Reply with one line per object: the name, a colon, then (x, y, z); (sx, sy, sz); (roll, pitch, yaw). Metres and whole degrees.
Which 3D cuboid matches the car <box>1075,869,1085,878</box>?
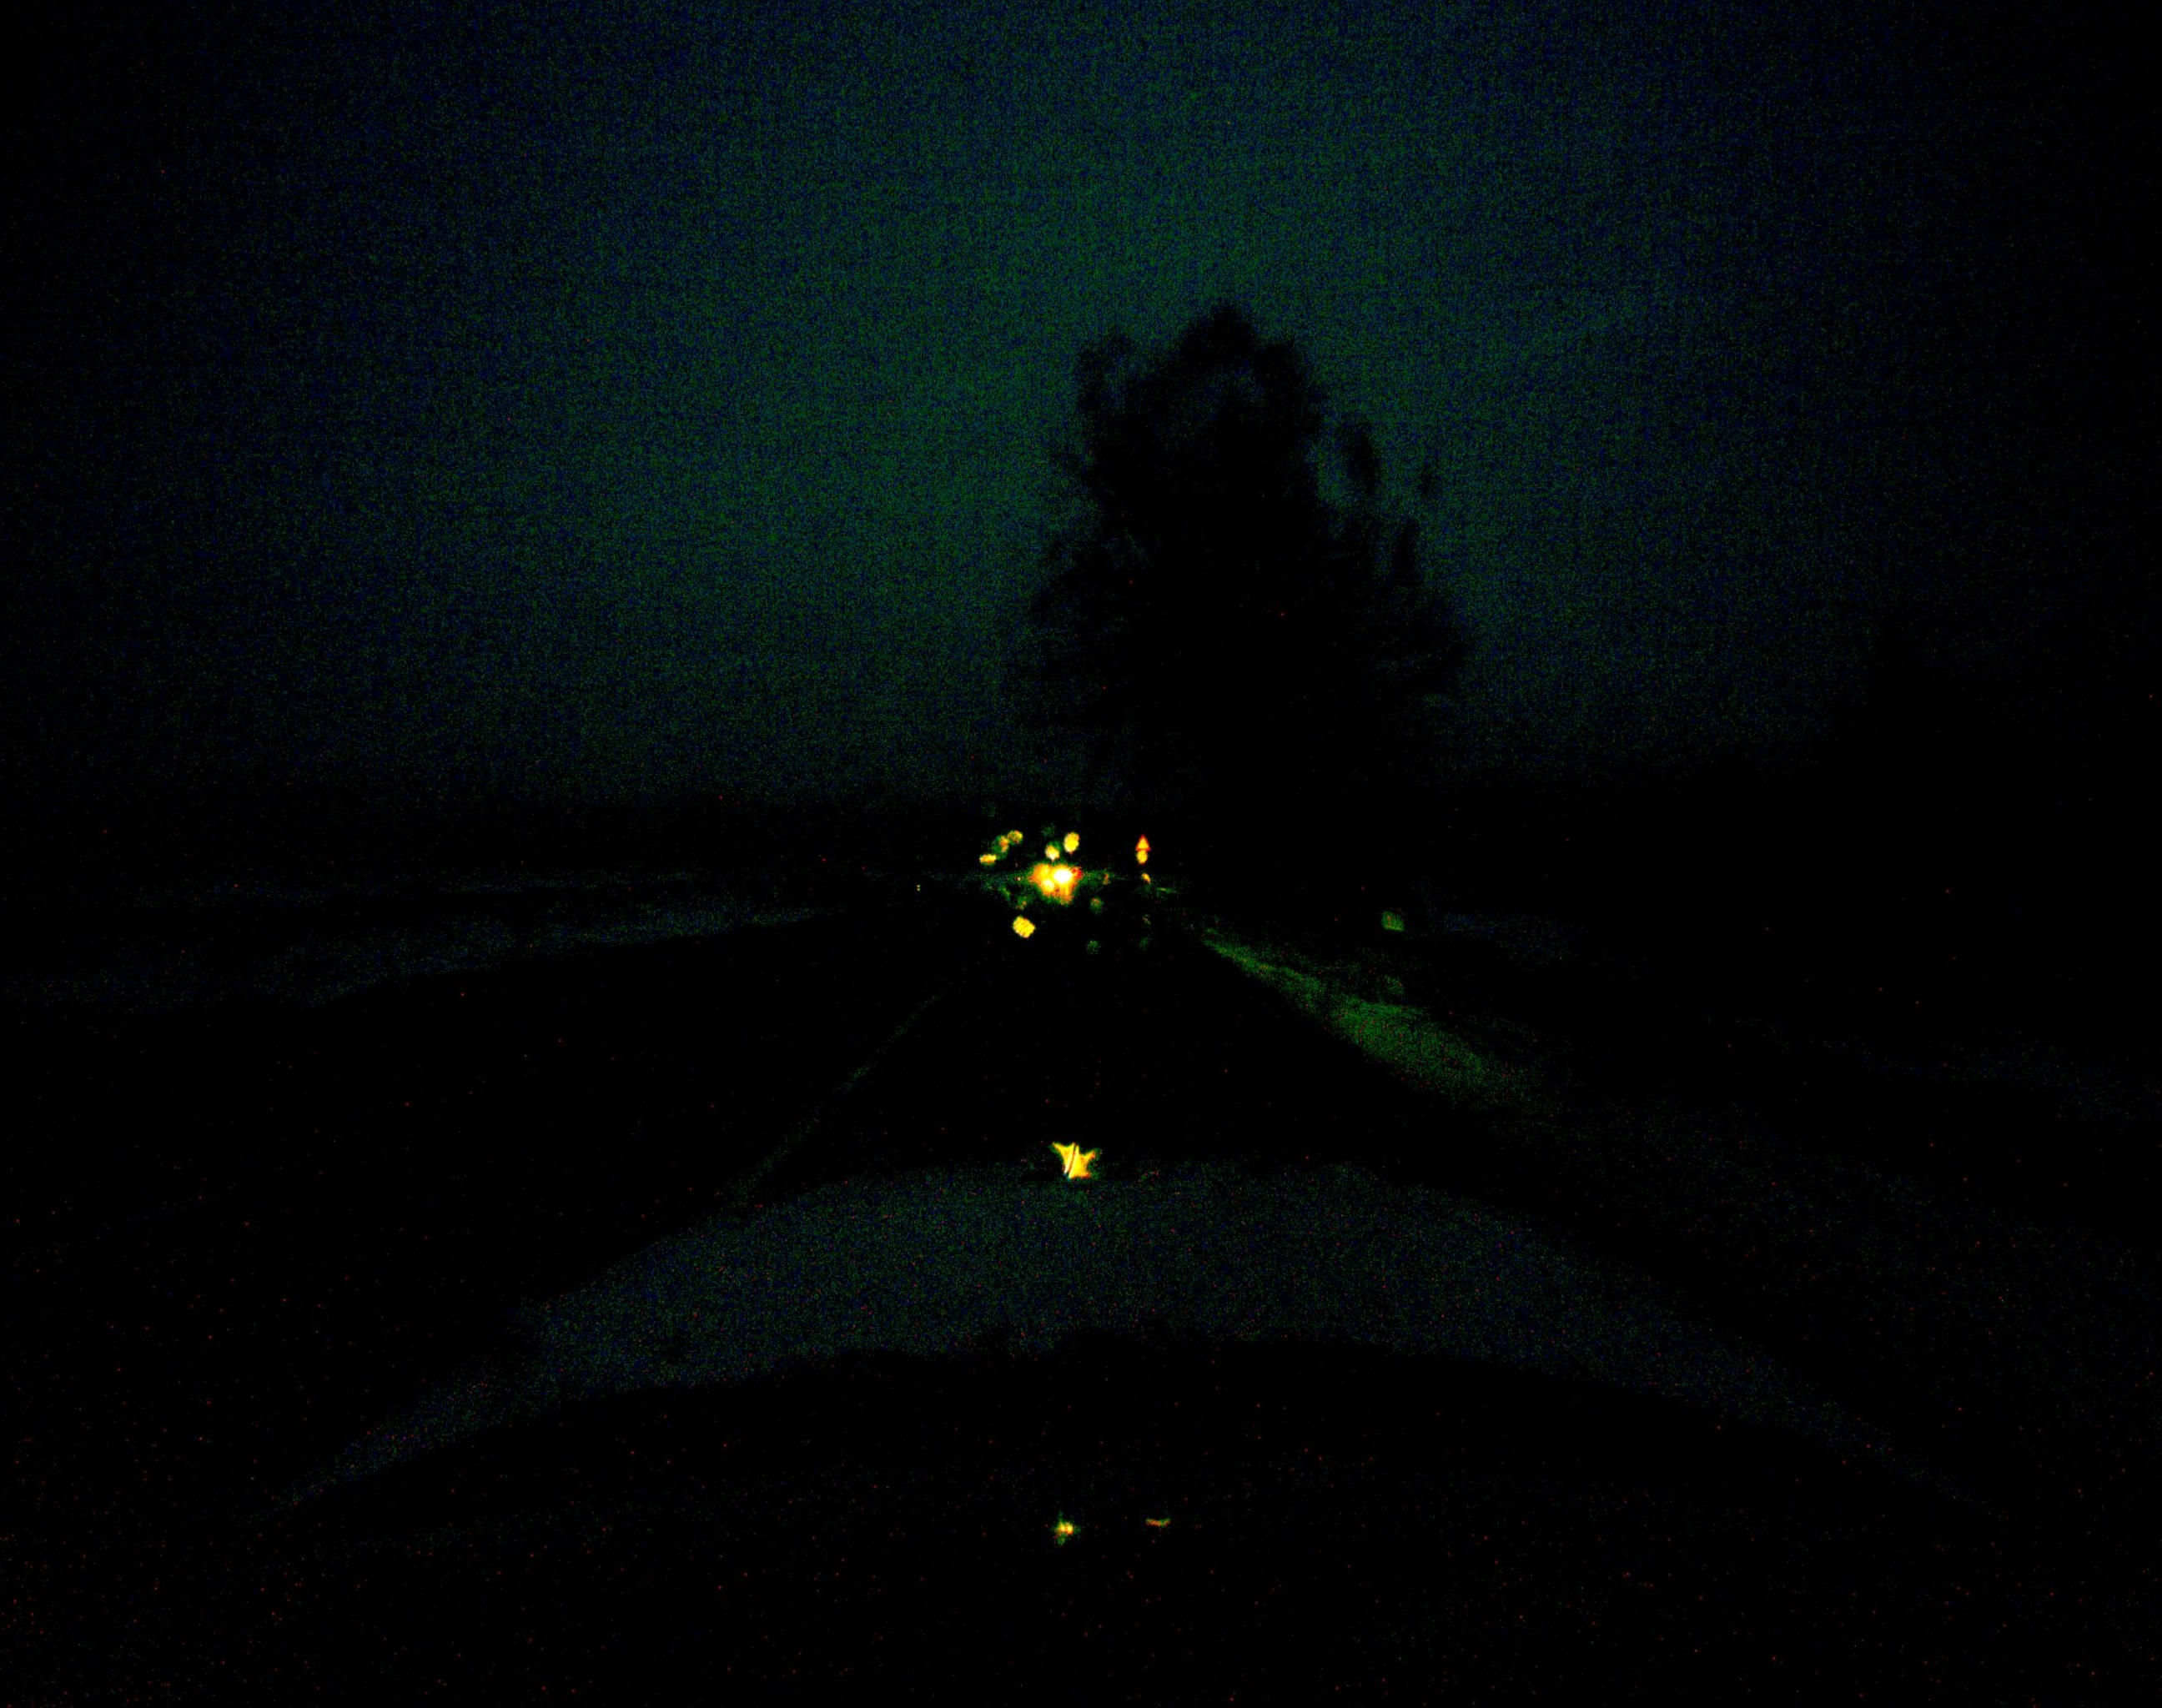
car: (-0.116, 3.633, 151.681); (1.685, 1.552, 3.859); (-1, 0, 3)
